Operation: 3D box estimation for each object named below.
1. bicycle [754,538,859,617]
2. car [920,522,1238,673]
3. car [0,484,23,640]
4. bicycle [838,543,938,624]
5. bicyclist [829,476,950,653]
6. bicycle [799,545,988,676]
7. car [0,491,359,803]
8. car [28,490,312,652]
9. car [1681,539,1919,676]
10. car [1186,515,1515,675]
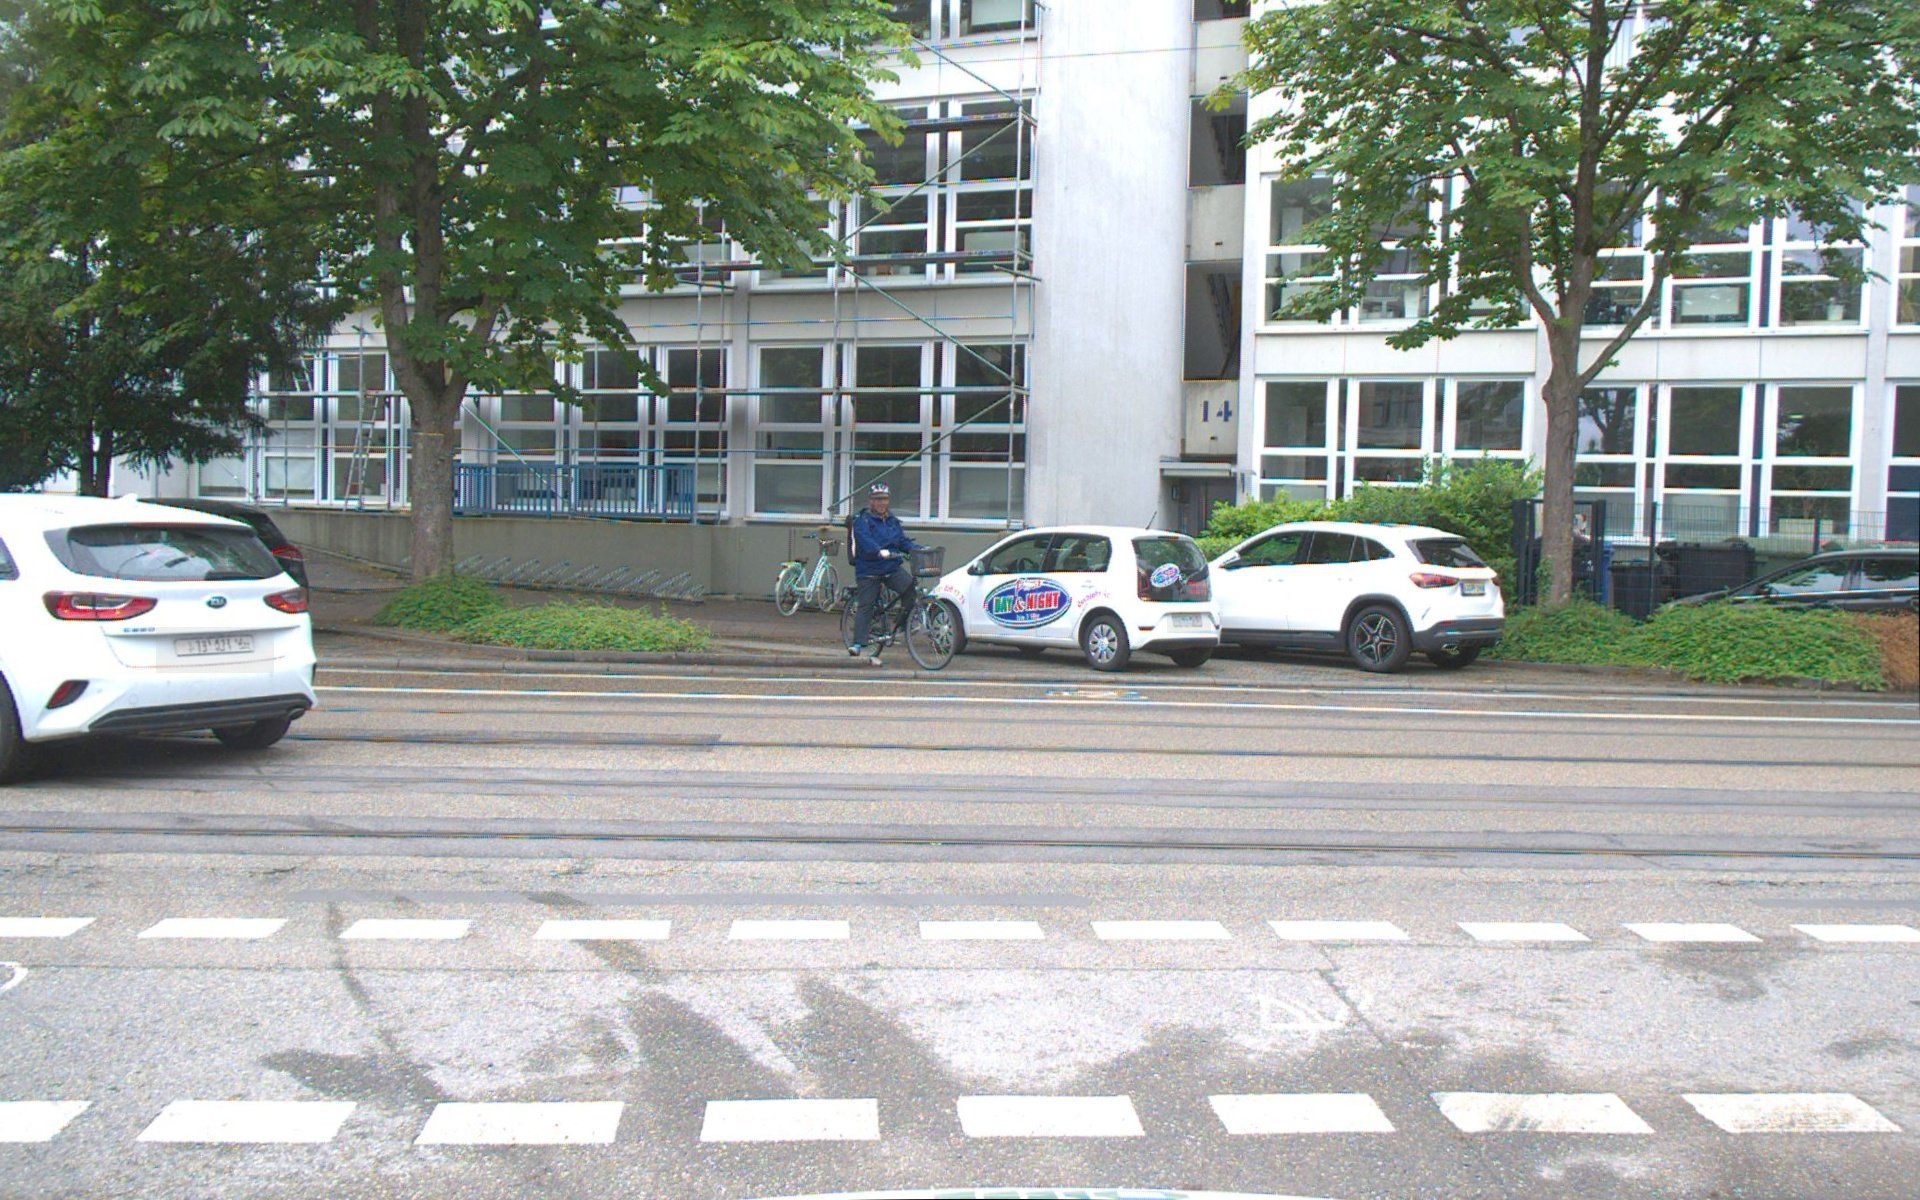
[{"bbox_3d":[-2.253,-0.362,24.603,0.631,1.093,2.313,2,3,19],"label":"bicycle"},{"bbox_3d":[1.252,-0.096,18.323,1.545,1.499,3.352,-1,3,-44],"label":"car"},{"bbox_3d":[-11.255,-0.447,17.306,3.279,1.563,1.609,4,3,43],"label":"car"},{"bbox_3d":[-1.025,-0.269,24.138,0.631,1.093,2.313,2,3,19],"label":"bicycle"},{"bbox_3d":[-0.714,-0.373,16.691,0.882,1.727,0.828,3,3,44],"label":"bicyclist"},{"bbox_3d":[-0.693,0.071,16.669,1.883,1.194,0.816,4,3,44],"label":"bicycle"},{"bbox_3d":[-5.555,0.106,9.583,3.891,1.457,1.779,4,3,29],"label":"car"},{"bbox_3d":[-8.362,-0.356,17.421,3.279,1.537,1.609,3,3,43],"label":"car"},{"bbox_3d":[10.763,0.060,19.445,3.881,1.499,1.665,3,3,40],"label":"car"},{"bbox_3d":[4.377,-0.131,18.834,1.545,1.646,3.352,-1,3,-44],"label":"car"}]
